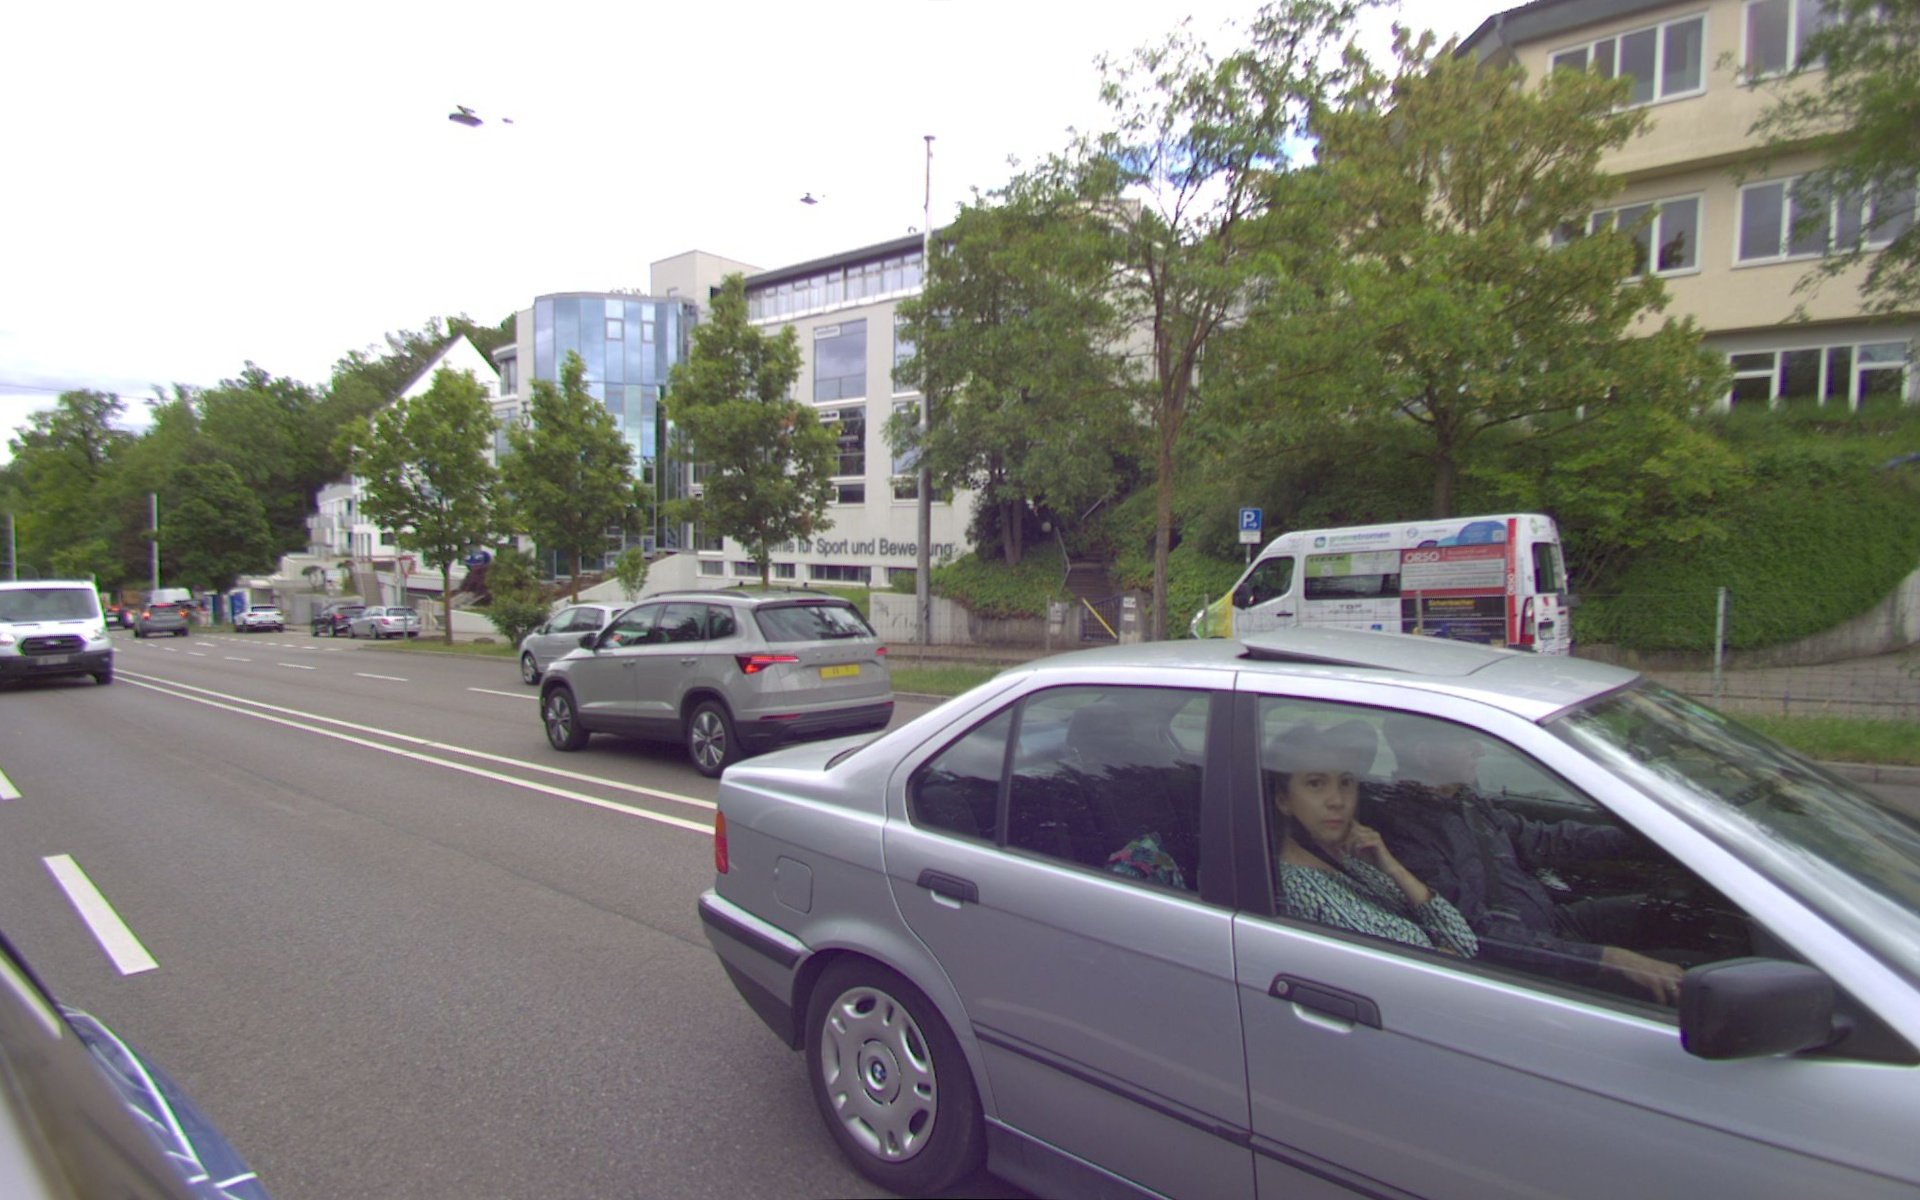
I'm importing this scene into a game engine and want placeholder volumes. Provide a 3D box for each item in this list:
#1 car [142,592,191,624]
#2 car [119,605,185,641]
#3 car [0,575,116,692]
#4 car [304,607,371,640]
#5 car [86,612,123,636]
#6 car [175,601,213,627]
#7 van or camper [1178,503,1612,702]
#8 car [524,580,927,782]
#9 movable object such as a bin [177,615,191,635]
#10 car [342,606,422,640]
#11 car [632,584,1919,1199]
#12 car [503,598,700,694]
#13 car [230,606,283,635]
[{"bbox_3d":[-67.575,0.689,86.116,6.529,2.545,1.973,-1,2,41],"label":"car"},{"bbox_3d":[-41.786,1.156,52.295,4.867,1.721,1.746,-1,1,41],"label":"car"},{"bbox_3d":[-19.914,0.673,21.558,6.265,2.190,1.973,-1,0,41],"label":"car"},{"bbox_3d":[-29.284,1.068,47.556,4.090,1.439,1.655,-1,0,43],"label":"car"},{"bbox_3d":[-59.361,1.627,70.228,1.779,1.553,3.926,-2,1,-43],"label":"car"},{"bbox_3d":[-56.976,1.012,75.270,1.785,1.764,4.255,-4,2,-43],"label":"car"},{"bbox_3d":[6.332,0.045,15.373,5.712,2.491,1.971,-1,0,44],"label":"van or camper"},{"bbox_3d":[-2.413,0.638,9.815,4.074,1.550,1.766,-1,0,42],"label":"car"},{"bbox_3d":[-45.492,1.444,59.318,0.580,1.146,0.646,-2,1,-41],"label":"movable object such as a bin"},{"bbox_3d":[-25.170,0.997,44.015,4.415,1.439,1.656,-1,-2,41],"label":"car"},{"bbox_3d":[1.245,0.694,2.187,4.619,1.393,1.617,-1,1,42],"label":"car"},{"bbox_3d":[-6.331,0.745,17.681,3.890,1.442,1.549,-1,1,42],"label":"car"},{"bbox_3d":[-38.700,1.092,55.606,4.240,1.515,1.649,-1,0,45],"label":"car"}]
